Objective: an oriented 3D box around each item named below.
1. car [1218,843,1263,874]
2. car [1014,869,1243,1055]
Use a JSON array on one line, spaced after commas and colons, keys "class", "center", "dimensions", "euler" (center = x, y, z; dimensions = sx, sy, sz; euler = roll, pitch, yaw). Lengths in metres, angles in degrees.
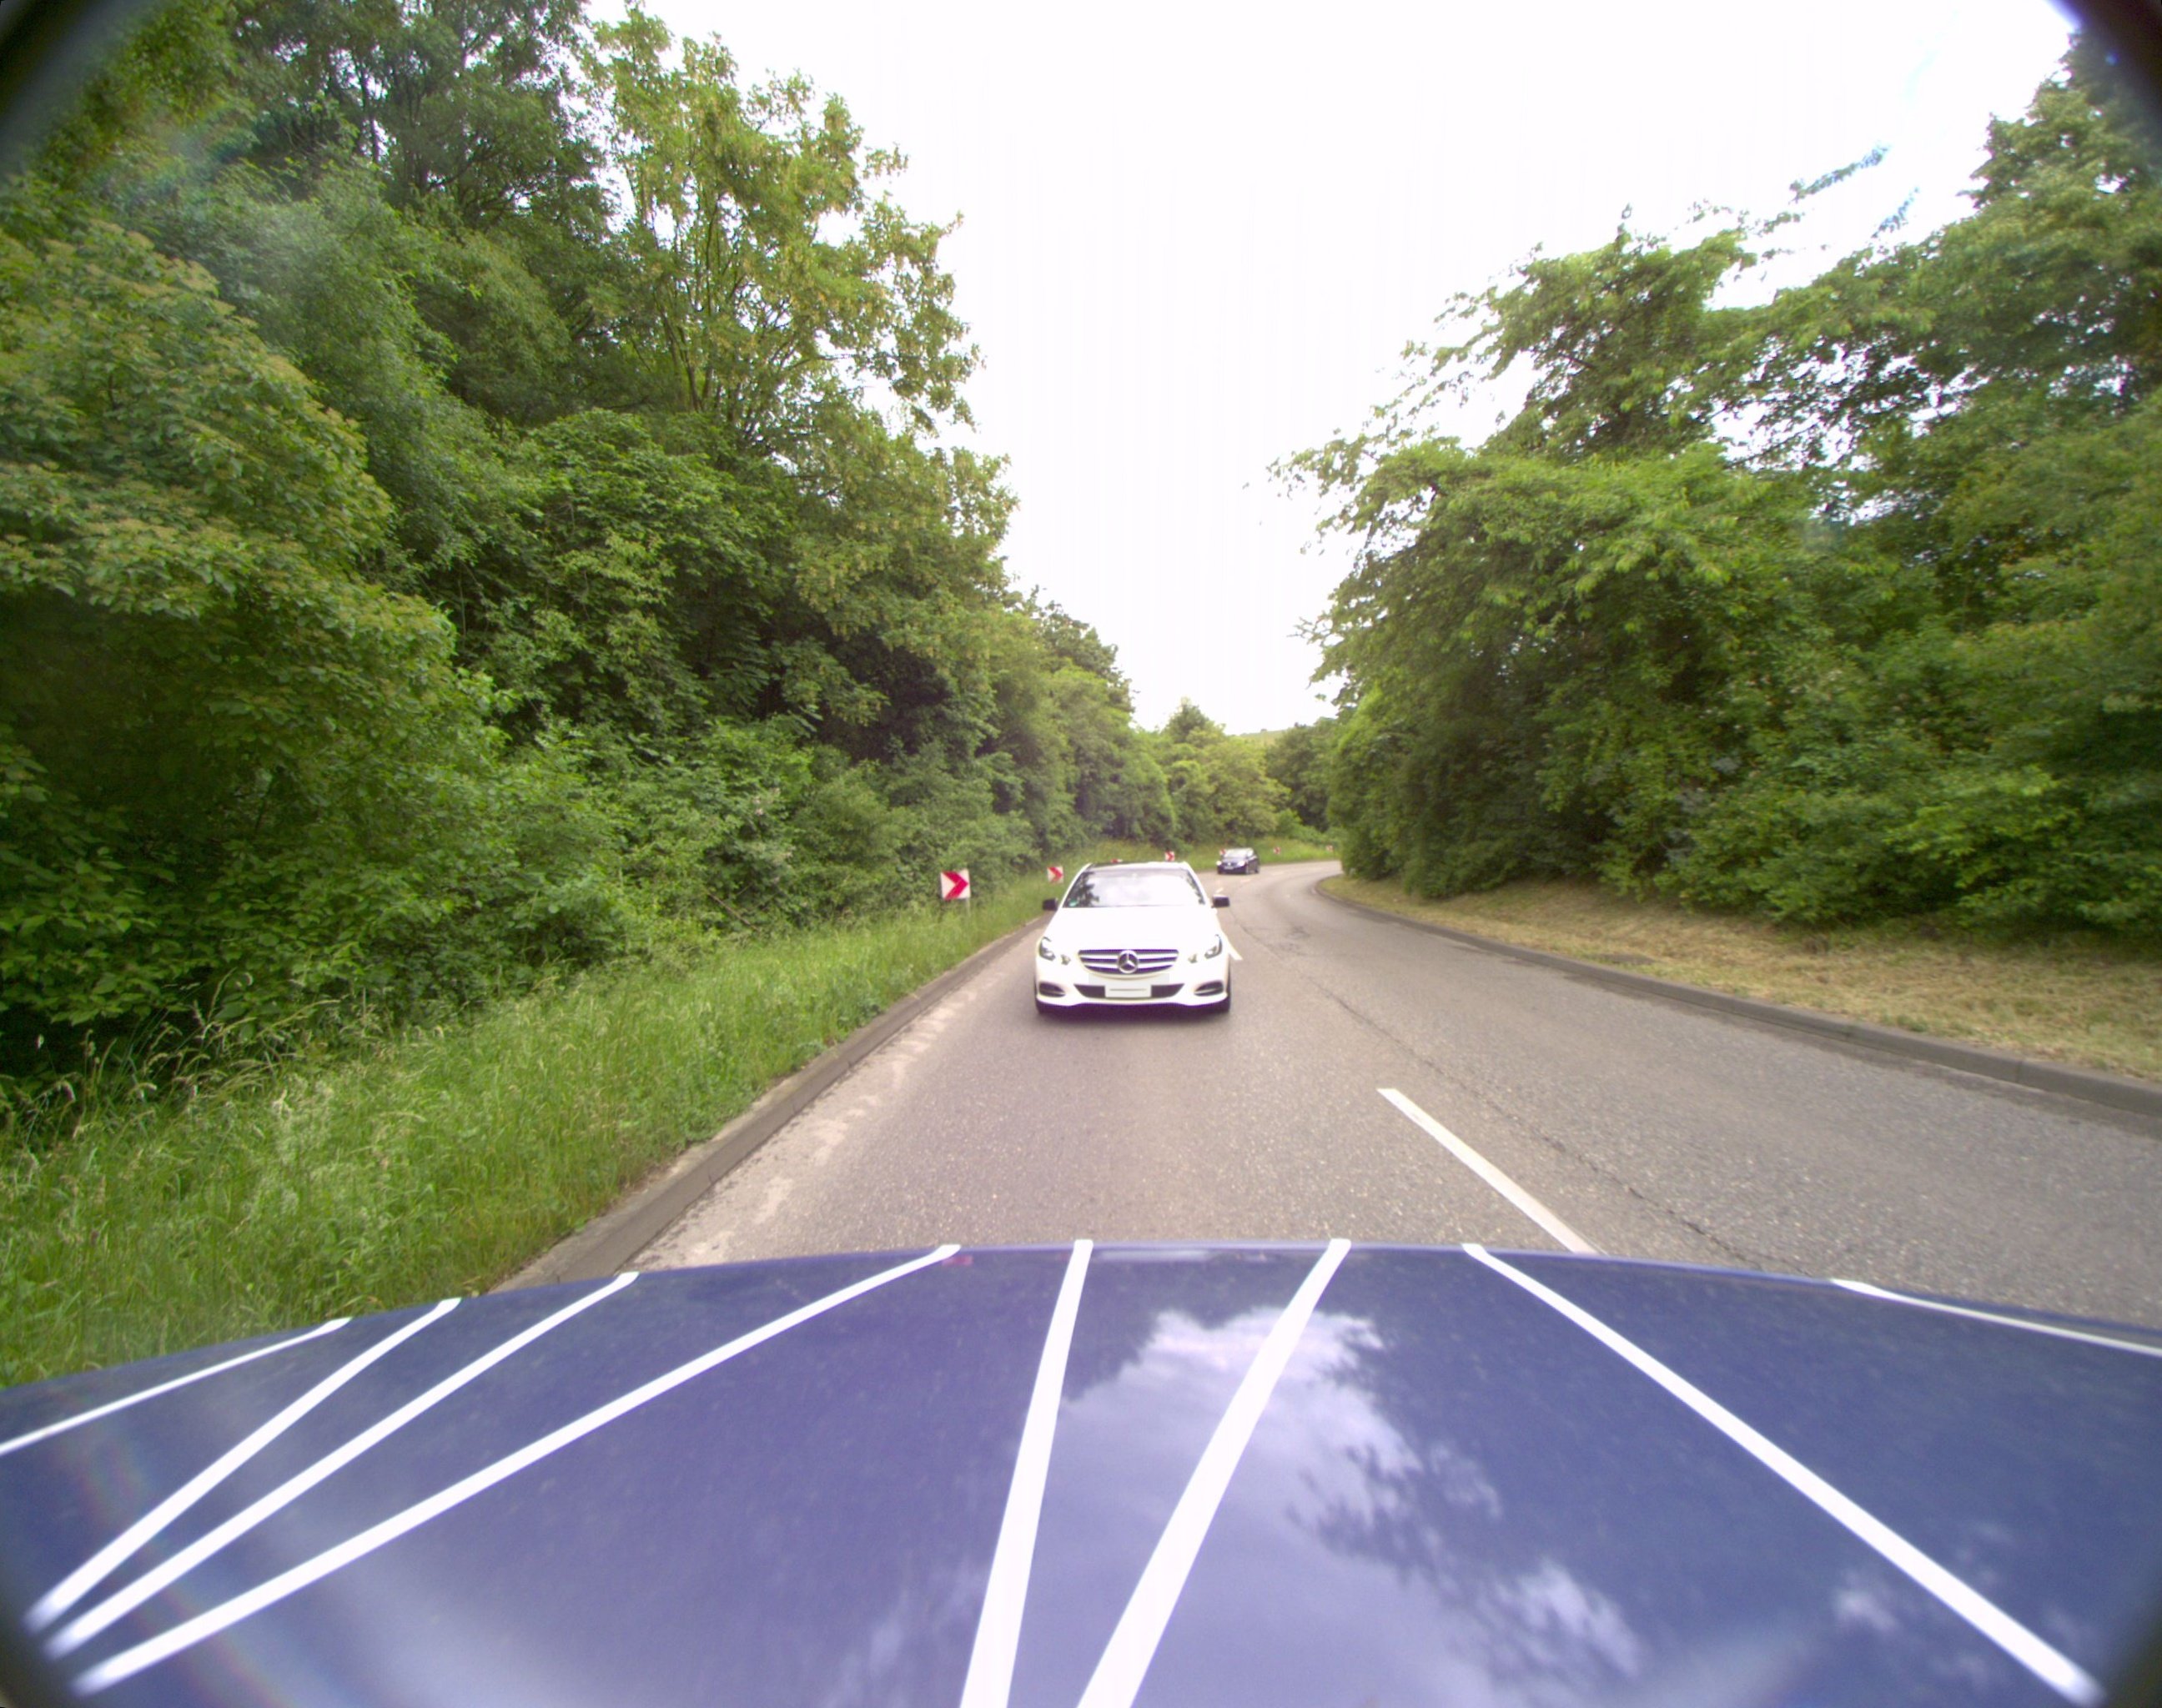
[{"class": "car", "center": [9.518, 0.241, 45.125], "dimensions": [1.550, 1.635, 3.746], "euler": [3, 3, 28]}, {"class": "car", "center": [0.585, 0.959, 8.514], "dimensions": [1.866, 1.423, 4.357], "euler": [-2, 0, 5]}]
